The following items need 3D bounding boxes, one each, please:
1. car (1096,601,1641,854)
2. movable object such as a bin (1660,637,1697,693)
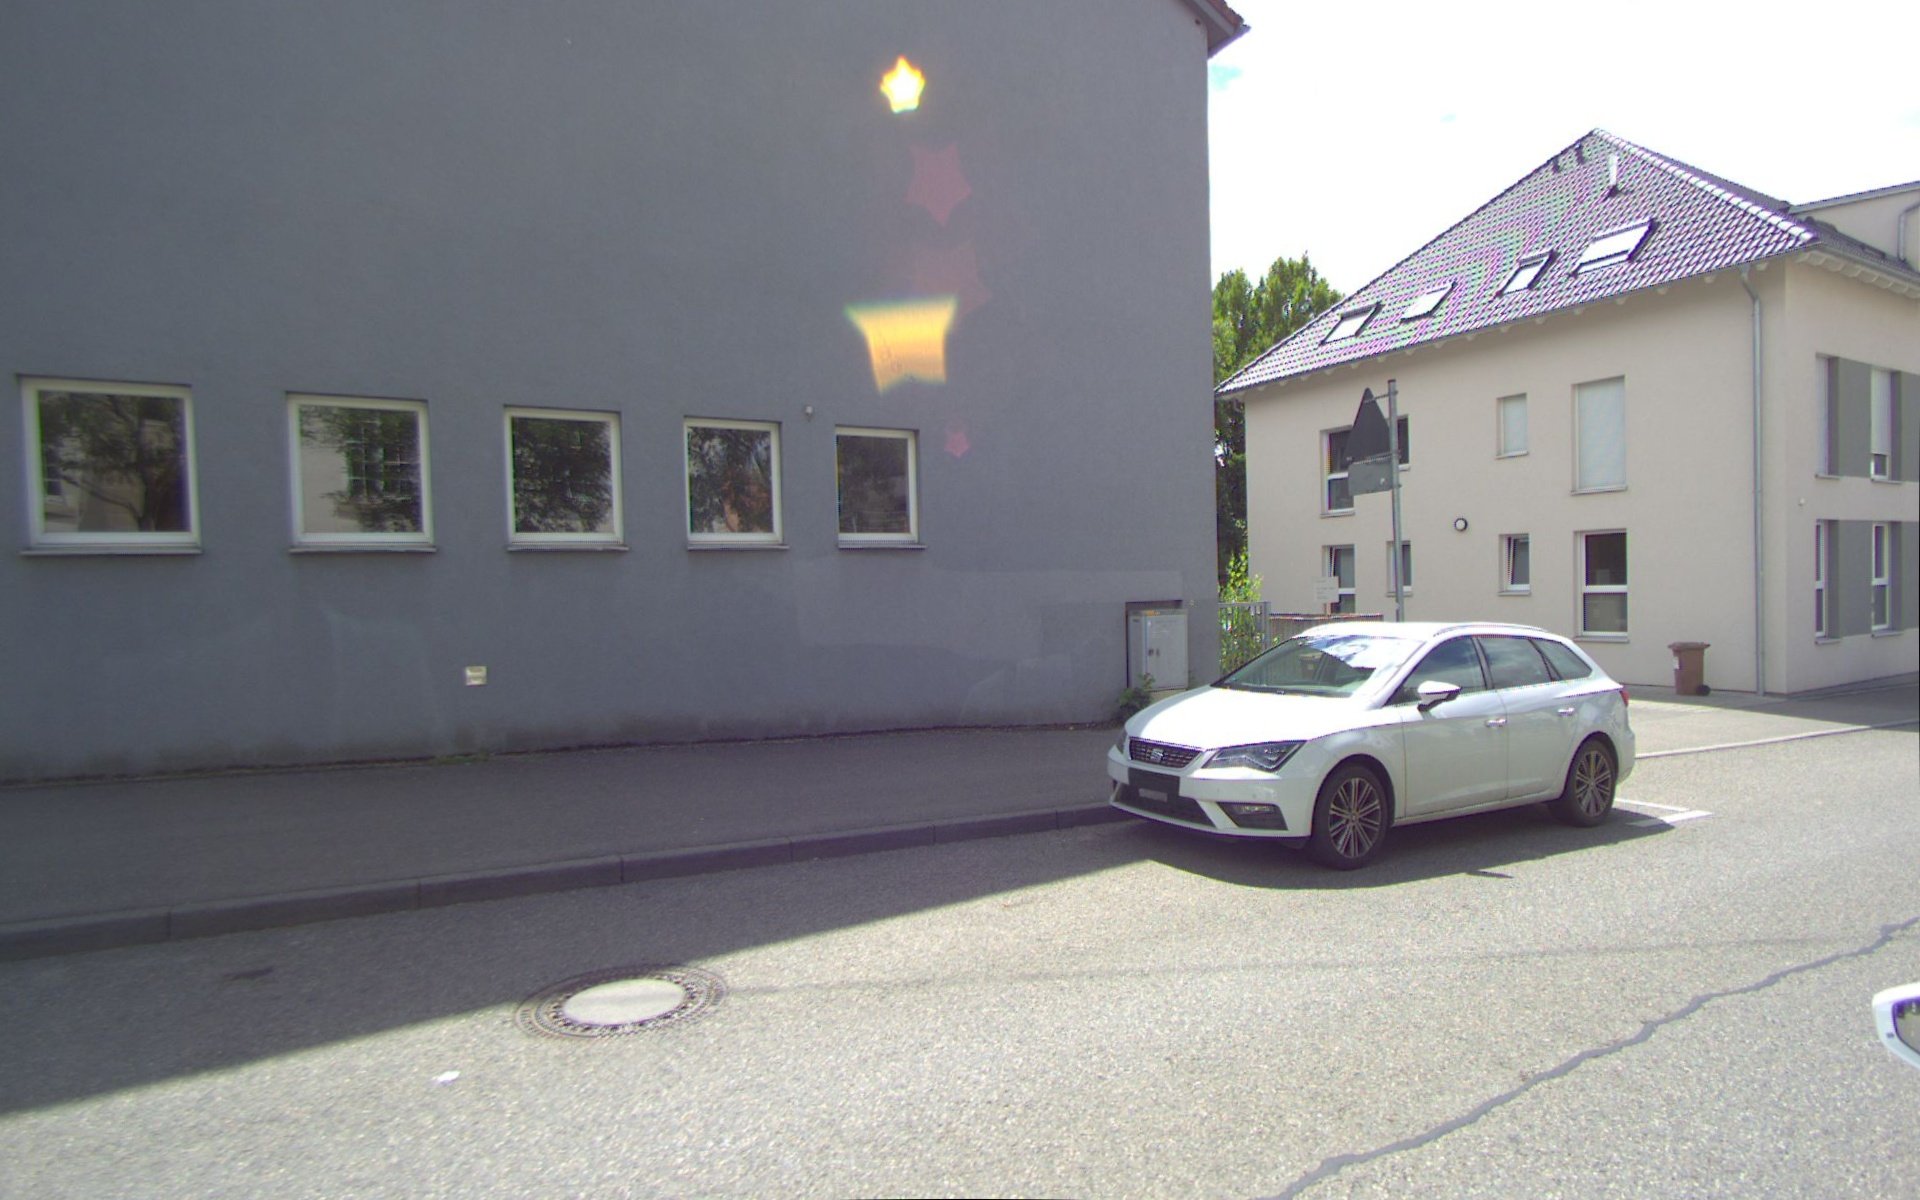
[{"bbox_3d":[3.031,0.729,7.324,3.819,1.409,1.689,1,0,-30],"label":"car"},{"bbox_3d":[12.778,1.149,17.865,0.387,0.966,0.411,0,0,-33],"label":"movable object such as a bin"}]
